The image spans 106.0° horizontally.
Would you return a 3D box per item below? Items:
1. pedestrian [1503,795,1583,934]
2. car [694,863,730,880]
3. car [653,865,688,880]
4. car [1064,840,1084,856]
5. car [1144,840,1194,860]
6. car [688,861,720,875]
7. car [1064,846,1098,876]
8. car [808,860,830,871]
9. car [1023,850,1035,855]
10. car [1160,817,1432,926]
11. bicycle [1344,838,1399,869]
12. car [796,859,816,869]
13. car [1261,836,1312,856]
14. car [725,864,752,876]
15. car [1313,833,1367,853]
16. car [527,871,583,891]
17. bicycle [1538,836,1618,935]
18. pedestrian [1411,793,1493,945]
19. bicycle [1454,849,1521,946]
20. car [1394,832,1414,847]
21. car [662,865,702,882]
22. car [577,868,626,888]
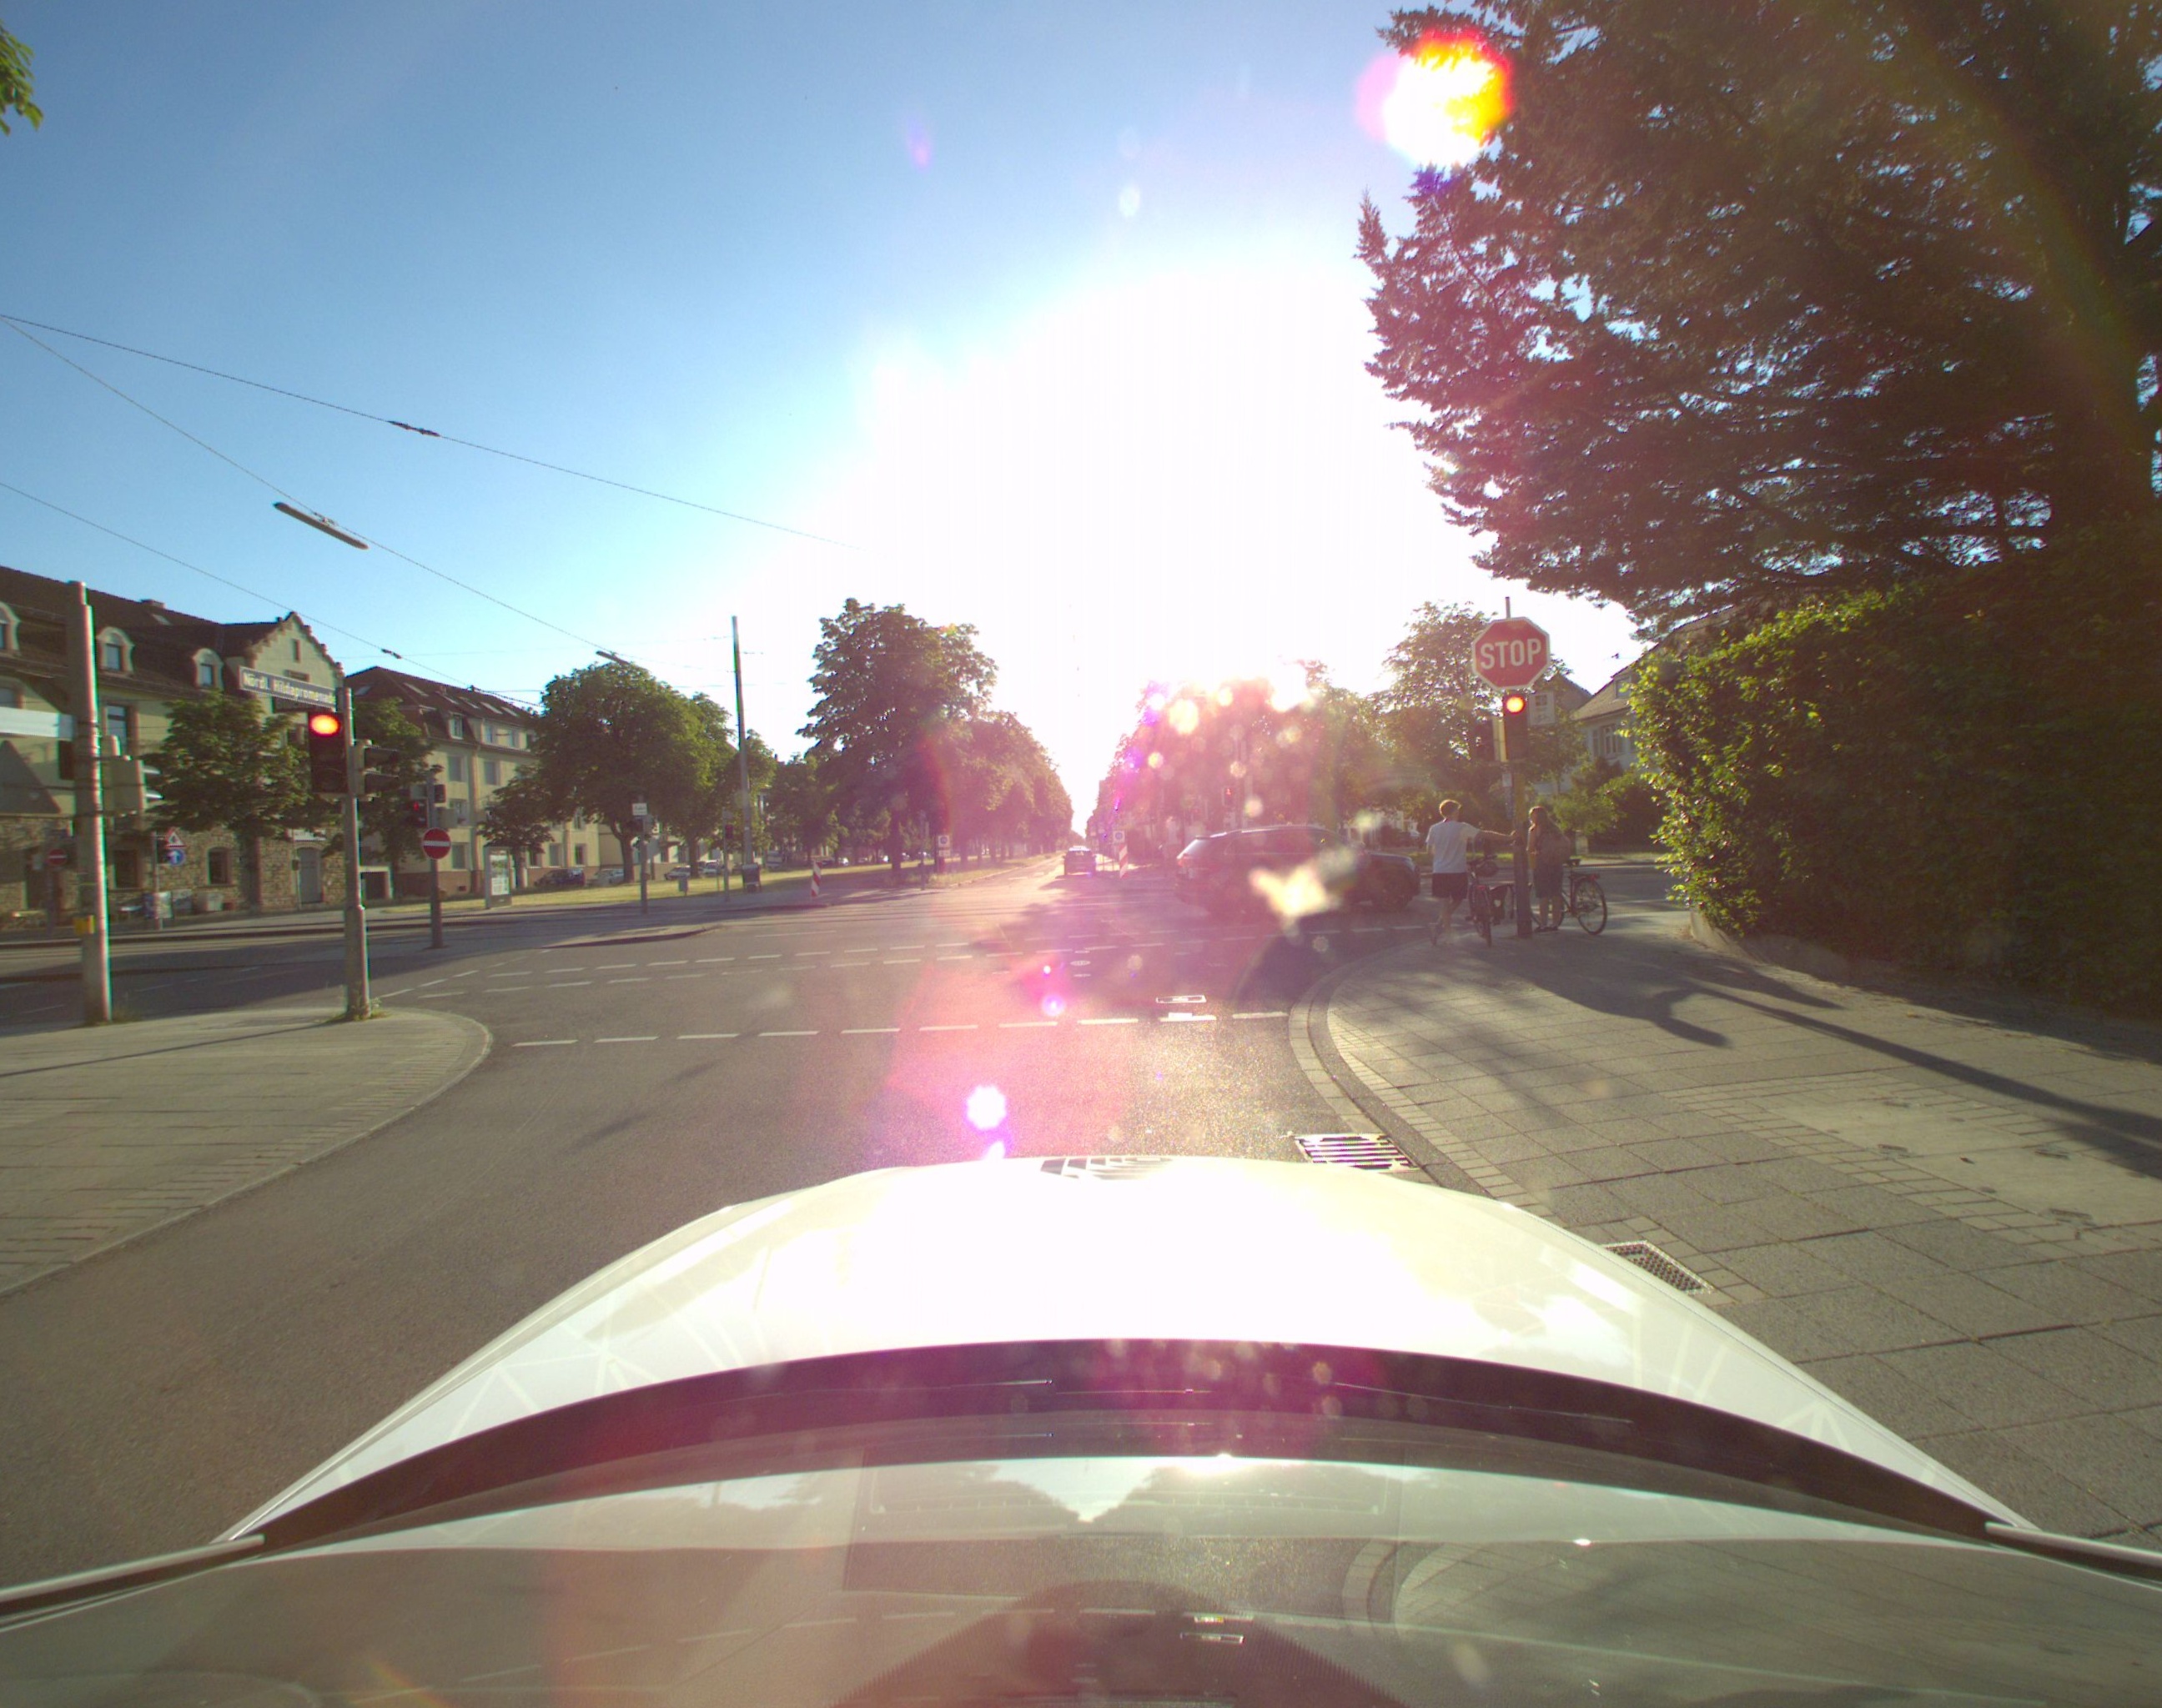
[{"bbox_3d":[6.008,0.130,10.625,0.663,1.708,0.626,-6,1,20],"label":"pedestrian"},{"bbox_3d":[-37.324,1.769,82.431,1.732,1.427,3.793,-2,2,1],"label":"car"},{"bbox_3d":[-43.926,1.999,87.181,1.732,1.427,3.793,-3,0,1],"label":"car"},{"bbox_3d":[-0.655,-0.574,78.446,1.839,1.393,3.829,-2,1,1],"label":"car"},{"bbox_3d":[6.997,-0.318,64.983,3.767,1.427,1.744,-2,2,0],"label":"car"},{"bbox_3d":[-43.116,1.582,93.258,1.732,1.427,3.793,-2,0,1],"label":"car"},{"bbox_3d":[0.029,0.347,44.021,1.634,1.450,3.310,-2,1,3],"label":"car"},{"bbox_3d":[-37.714,1.597,117.249,1.732,1.427,3.793,-2,0,1],"label":"car"},{"bbox_3d":[-15.584,-0.499,245.385,3.510,1.427,1.602,-2,0,-1],"label":"car"},{"bbox_3d":[3.957,0.289,15.344,4.548,1.663,1.873,-3,0,-10],"label":"car"},{"bbox_3d":[11.640,-0.023,32.709,1.946,1.132,0.620,-3,0,2],"label":"bicycle"},{"bbox_3d":[-43.095,1.520,127.633,1.732,1.427,3.793,-2,0,1],"label":"car"},{"bbox_3d":[16.377,-0.638,65.032,3.656,1.427,1.529,-2,0,-4],"label":"car"},{"bbox_3d":[-43.538,2.025,103.547,1.732,1.427,3.793,-2,0,1],"label":"car"},{"bbox_3d":[20.889,-0.897,65.699,3.838,1.427,1.595,-2,0,-4],"label":"car"},{"bbox_3d":[-43.121,2.218,66.850,1.729,1.397,3.799,-2,0,6],"label":"car"},{"bbox_3d":[6.391,0.364,10.545,0.483,1.142,1.606,-5,0,19],"label":"bicycle"},{"bbox_3d":[4.869,0.197,10.747,0.665,1.865,0.886,-8,-3,19],"label":"pedestrian"},{"bbox_3d":[5.203,0.515,10.506,0.483,1.097,1.800,-5,-1,20],"label":"bicycle"},{"bbox_3d":[33.112,-1.491,83.471,1.649,1.417,3.563,-3,1,24],"label":"car"},{"bbox_3d":[-37.339,1.808,76.339,1.732,1.427,3.793,-2,1,1],"label":"car"},{"bbox_3d":[-43.076,2.144,73.267,1.729,1.427,3.800,-2,2,6],"label":"car"}]
